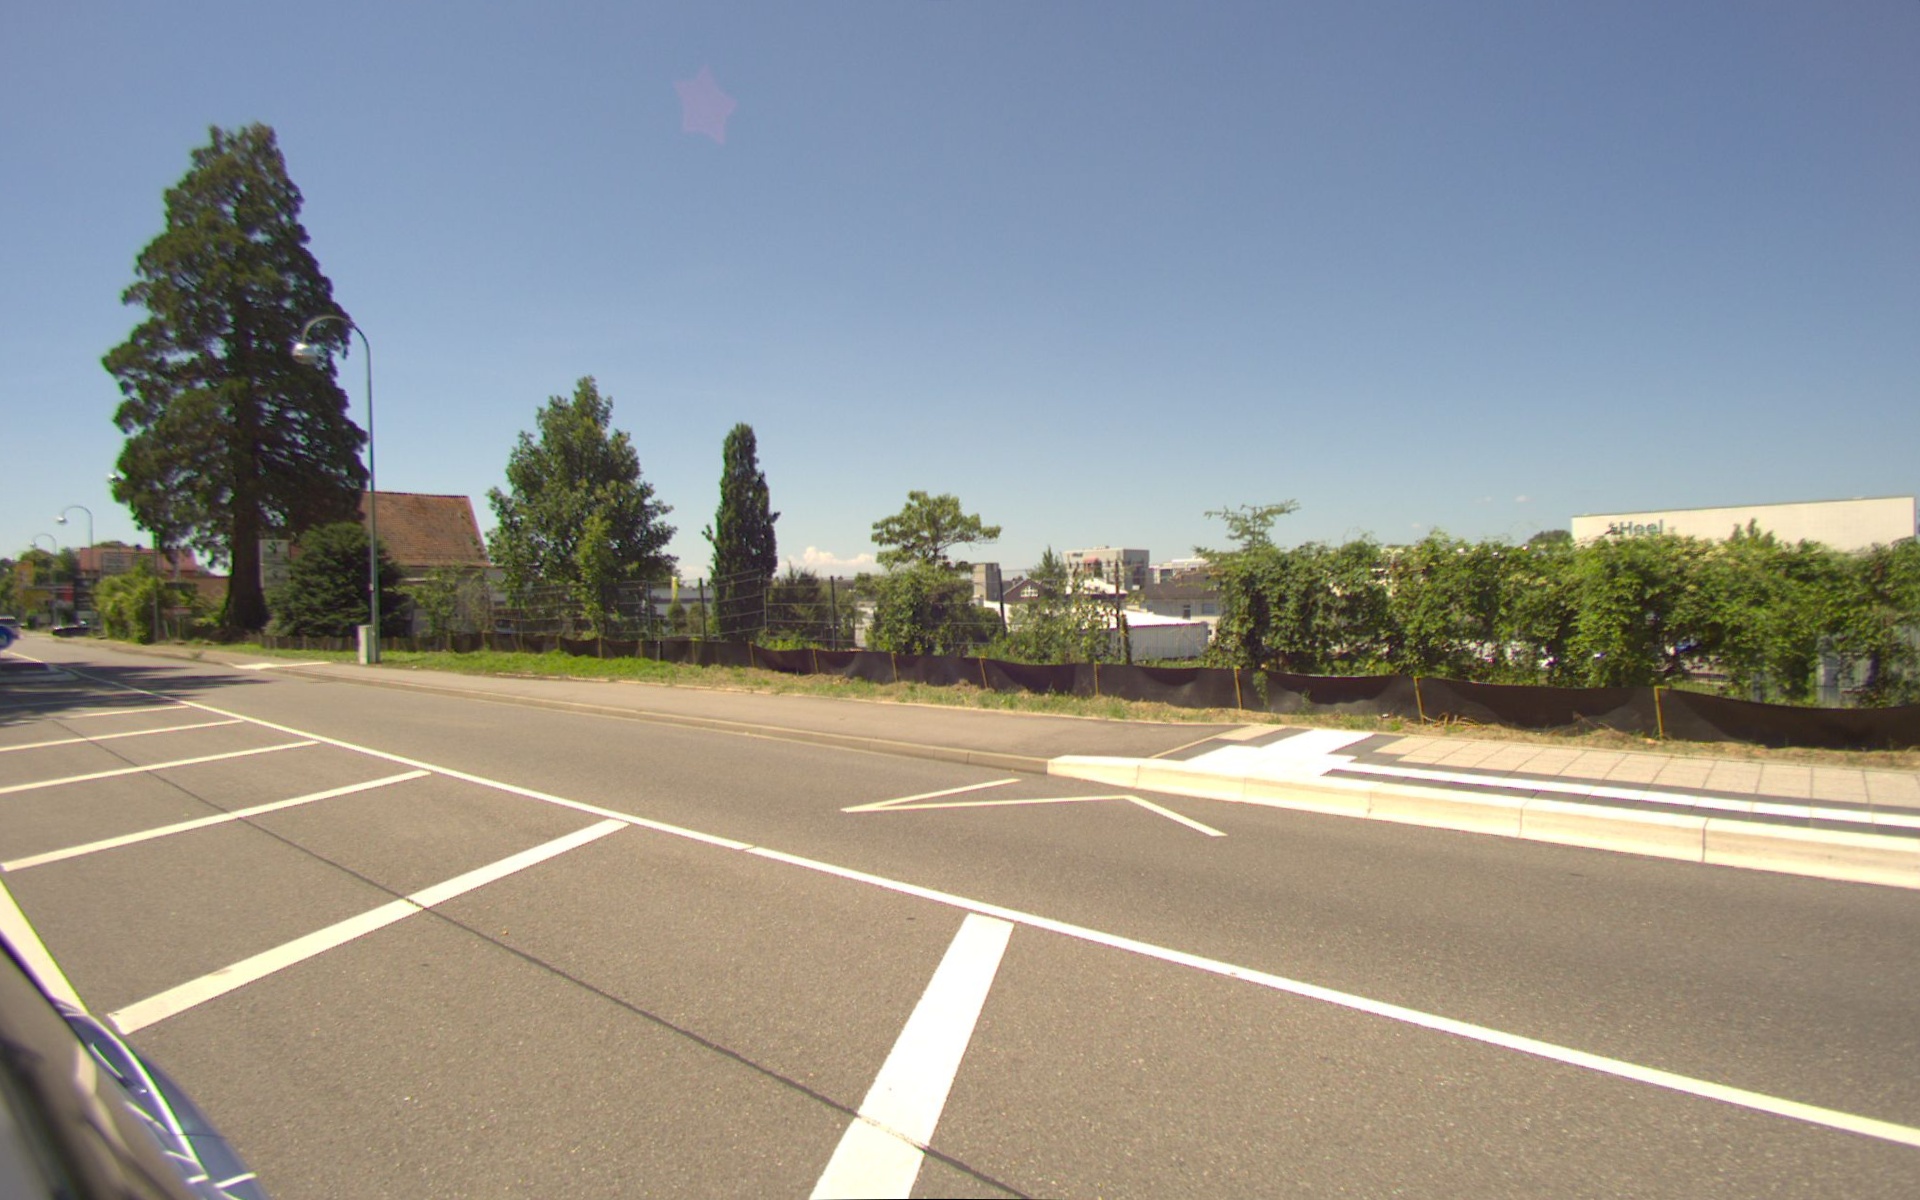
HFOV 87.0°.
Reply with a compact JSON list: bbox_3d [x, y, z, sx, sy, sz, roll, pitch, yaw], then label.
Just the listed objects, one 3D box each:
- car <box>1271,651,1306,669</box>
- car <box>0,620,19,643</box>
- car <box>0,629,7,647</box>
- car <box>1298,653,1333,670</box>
[{"bbox_3d":[35.614,6.492,109.631,3.941,1.586,2.001,-1,0,-45],"label":"car"},{"bbox_3d":[-69.784,2.288,73.462,4.688,1.657,1.764,-1,-2,42],"label":"car"},{"bbox_3d":[-85.580,3.324,89.333,4.320,1.561,1.859,-1,-1,43],"label":"car"},{"bbox_3d":[37.733,6.521,107.380,3.941,1.586,2.001,-1,0,-45],"label":"car"}]
